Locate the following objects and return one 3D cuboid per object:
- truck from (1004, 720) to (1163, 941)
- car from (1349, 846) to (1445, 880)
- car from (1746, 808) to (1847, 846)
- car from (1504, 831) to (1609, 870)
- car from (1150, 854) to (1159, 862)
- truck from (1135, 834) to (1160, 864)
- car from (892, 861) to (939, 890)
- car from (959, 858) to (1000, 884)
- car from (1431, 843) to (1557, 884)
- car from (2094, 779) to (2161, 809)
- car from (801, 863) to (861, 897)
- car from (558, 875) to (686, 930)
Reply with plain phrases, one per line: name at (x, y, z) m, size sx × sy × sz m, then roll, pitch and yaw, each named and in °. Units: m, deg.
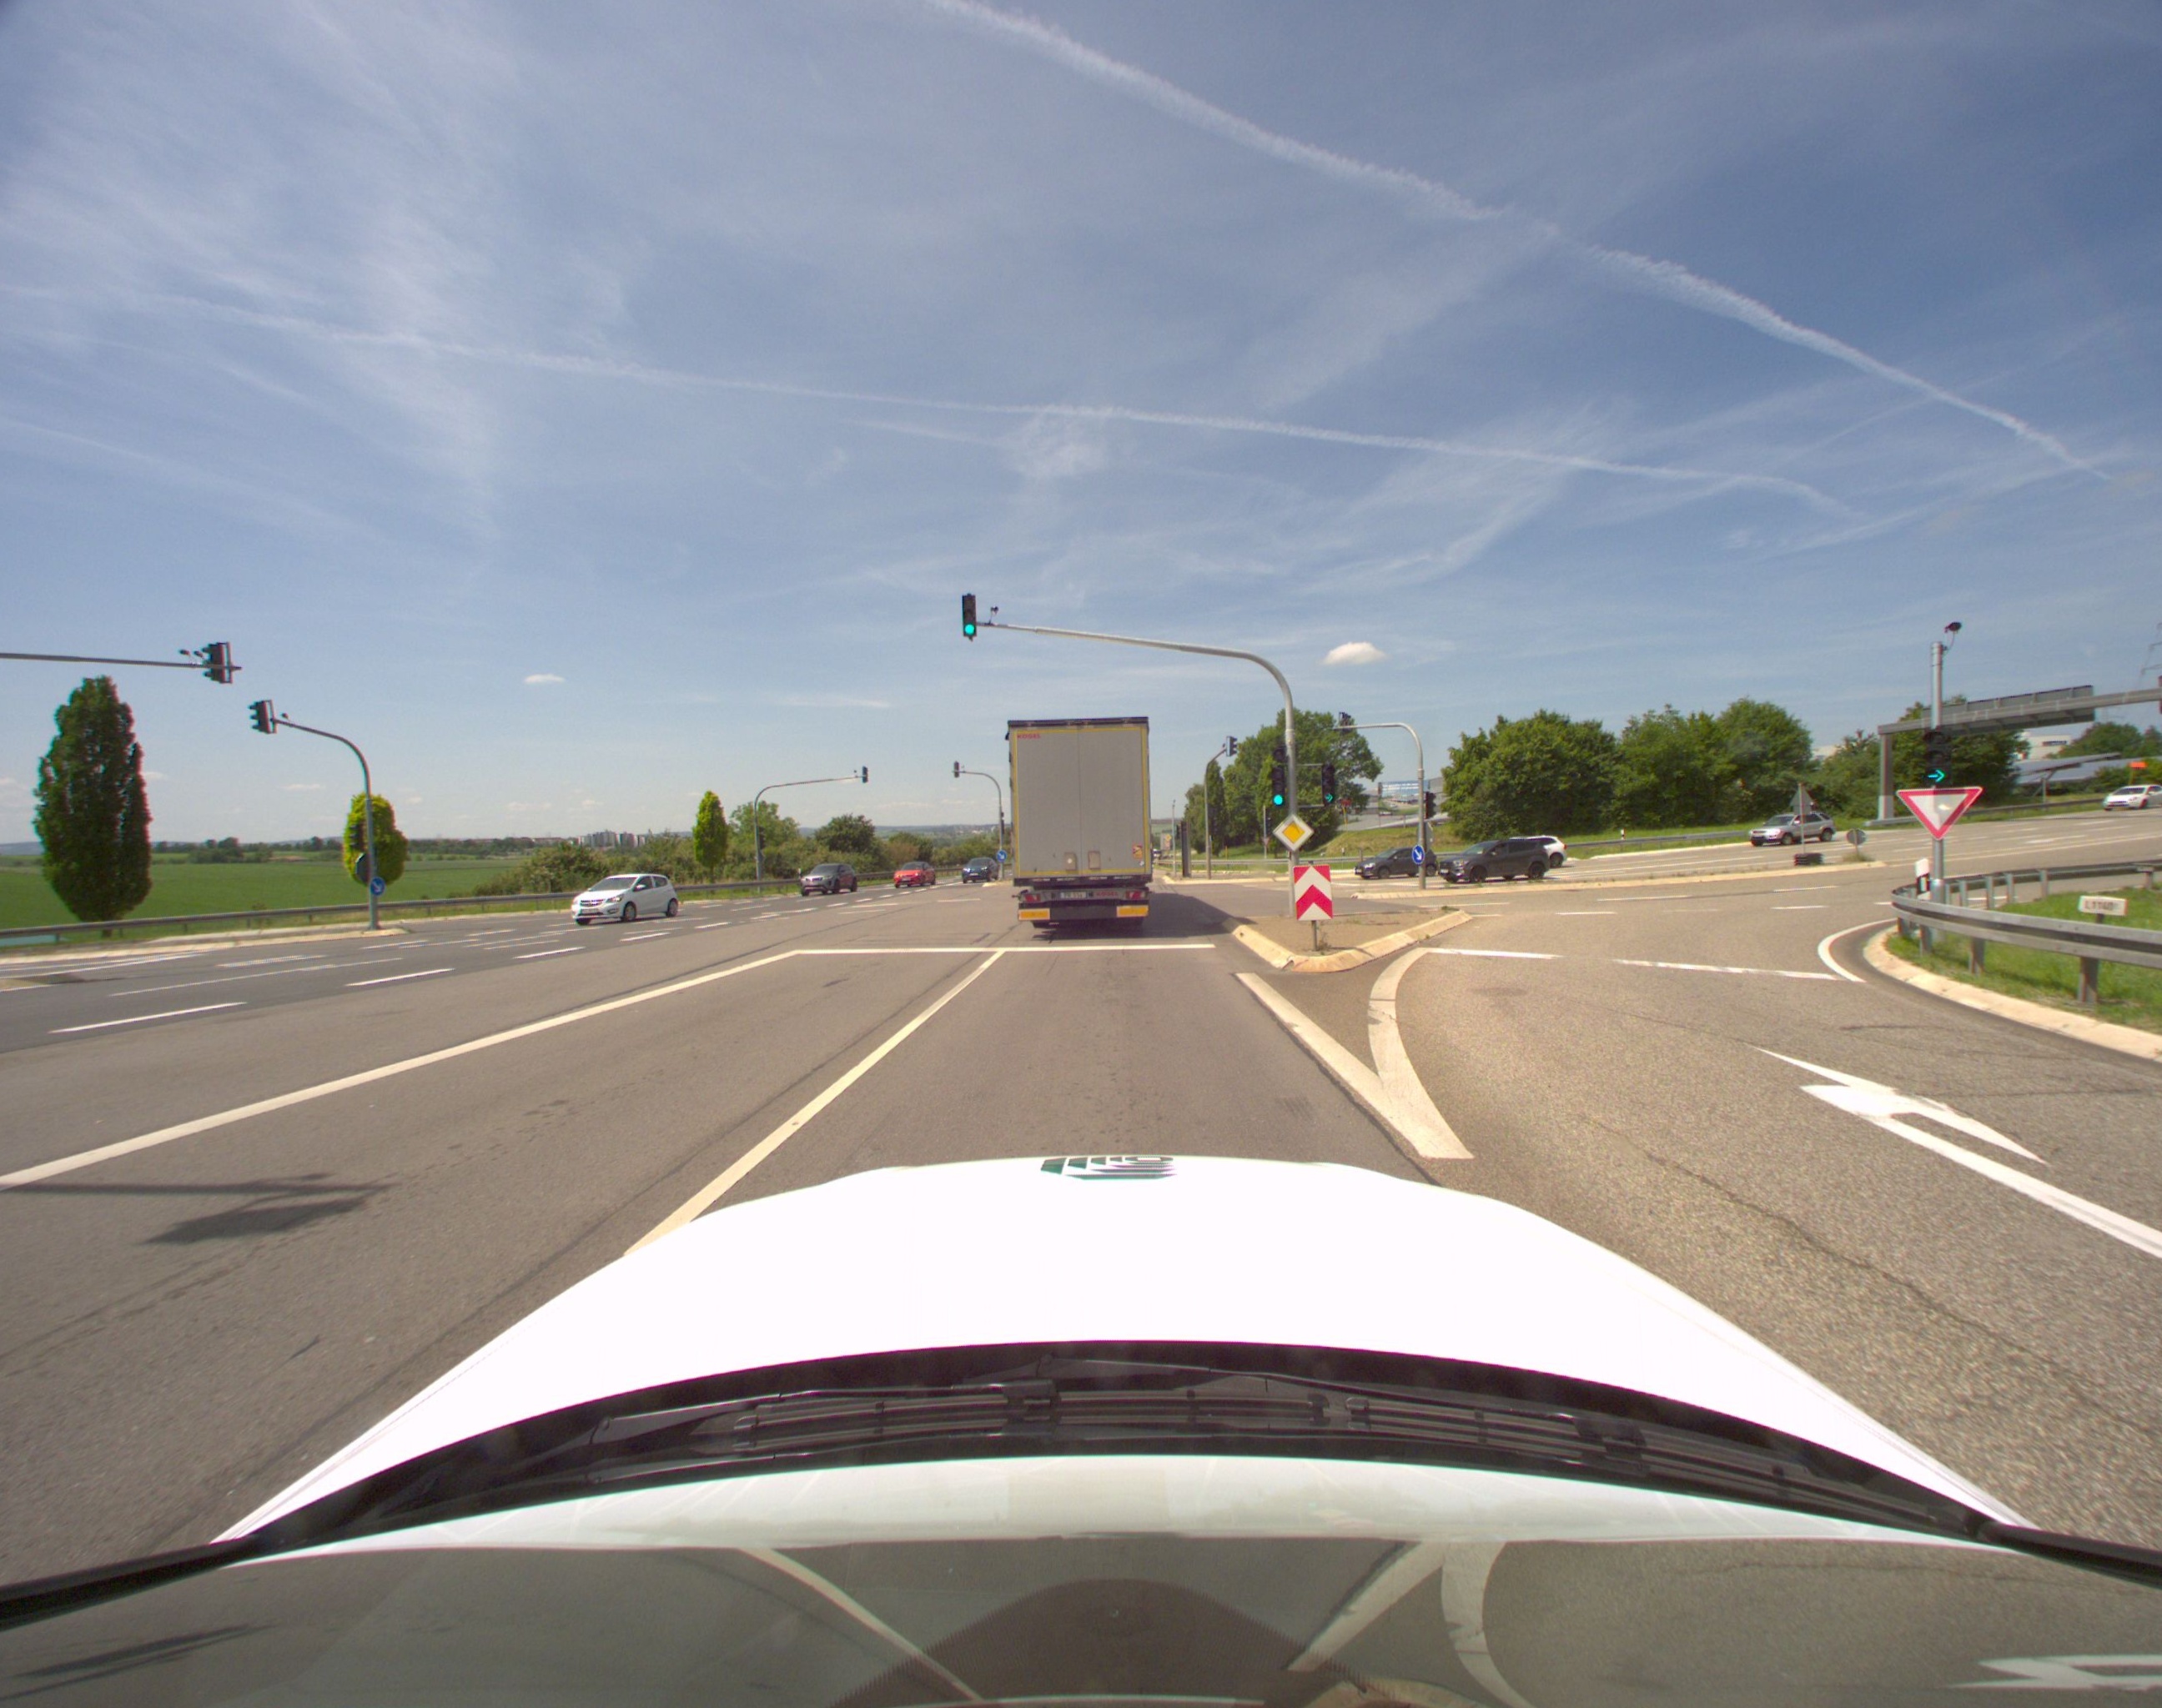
truck at (-0.016, -0.416, 20.282) m, size 2.791 × 3.929 × 11.337 m, roll -1°, pitch 0°, yaw -1°
car at (15.105, 0.436, 39.015) m, size 3.984 × 1.510 × 1.712 m, roll -1°, pitch -1°, yaw -8°
car at (39.305, -1.471, 44.782) m, size 4.360 × 1.655 × 1.830 m, roll -5°, pitch 0°, yaw -11°
car at (23.889, -0.171, 40.966) m, size 4.355 × 1.592 × 1.775 m, roll -4°, pitch 0°, yaw -8°
car at (14.697, 0.833, 162.280) m, size 1.777 × 1.688 × 4.007 m, roll -1°, pitch -1°, yaw 6°
truck at (8.832, -0.514, 107.811) m, size 2.640 × 3.764 × 10.184 m, roll -1°, pitch -1°, yaw 8°
car at (-9.824, 1.241, 48.503) m, size 1.637 × 1.496 × 4.070 m, roll -3°, pitch 0°, yaw 4°
car at (-6.291, 0.998, 50.767) m, size 1.748 × 1.469 × 4.199 m, roll -2°, pitch 0°, yaw 3°
car at (16.579, 0.373, 32.768) m, size 4.359 × 1.510 × 1.710 m, roll -1°, pitch -1°, yaw -10°
car at (67.608, -3.857, 52.078) m, size 3.986 × 1.599 × 1.776 m, roll -5°, pitch 2°, yaw -9°
car at (-13.285, 1.335, 43.545) m, size 1.637 × 1.623 × 4.331 m, roll -3°, pitch -1°, yaw 3°
car at (-14.390, 1.476, 25.780) m, size 1.637 × 1.497 × 3.805 m, roll -3°, pitch -1°, yaw 4°
